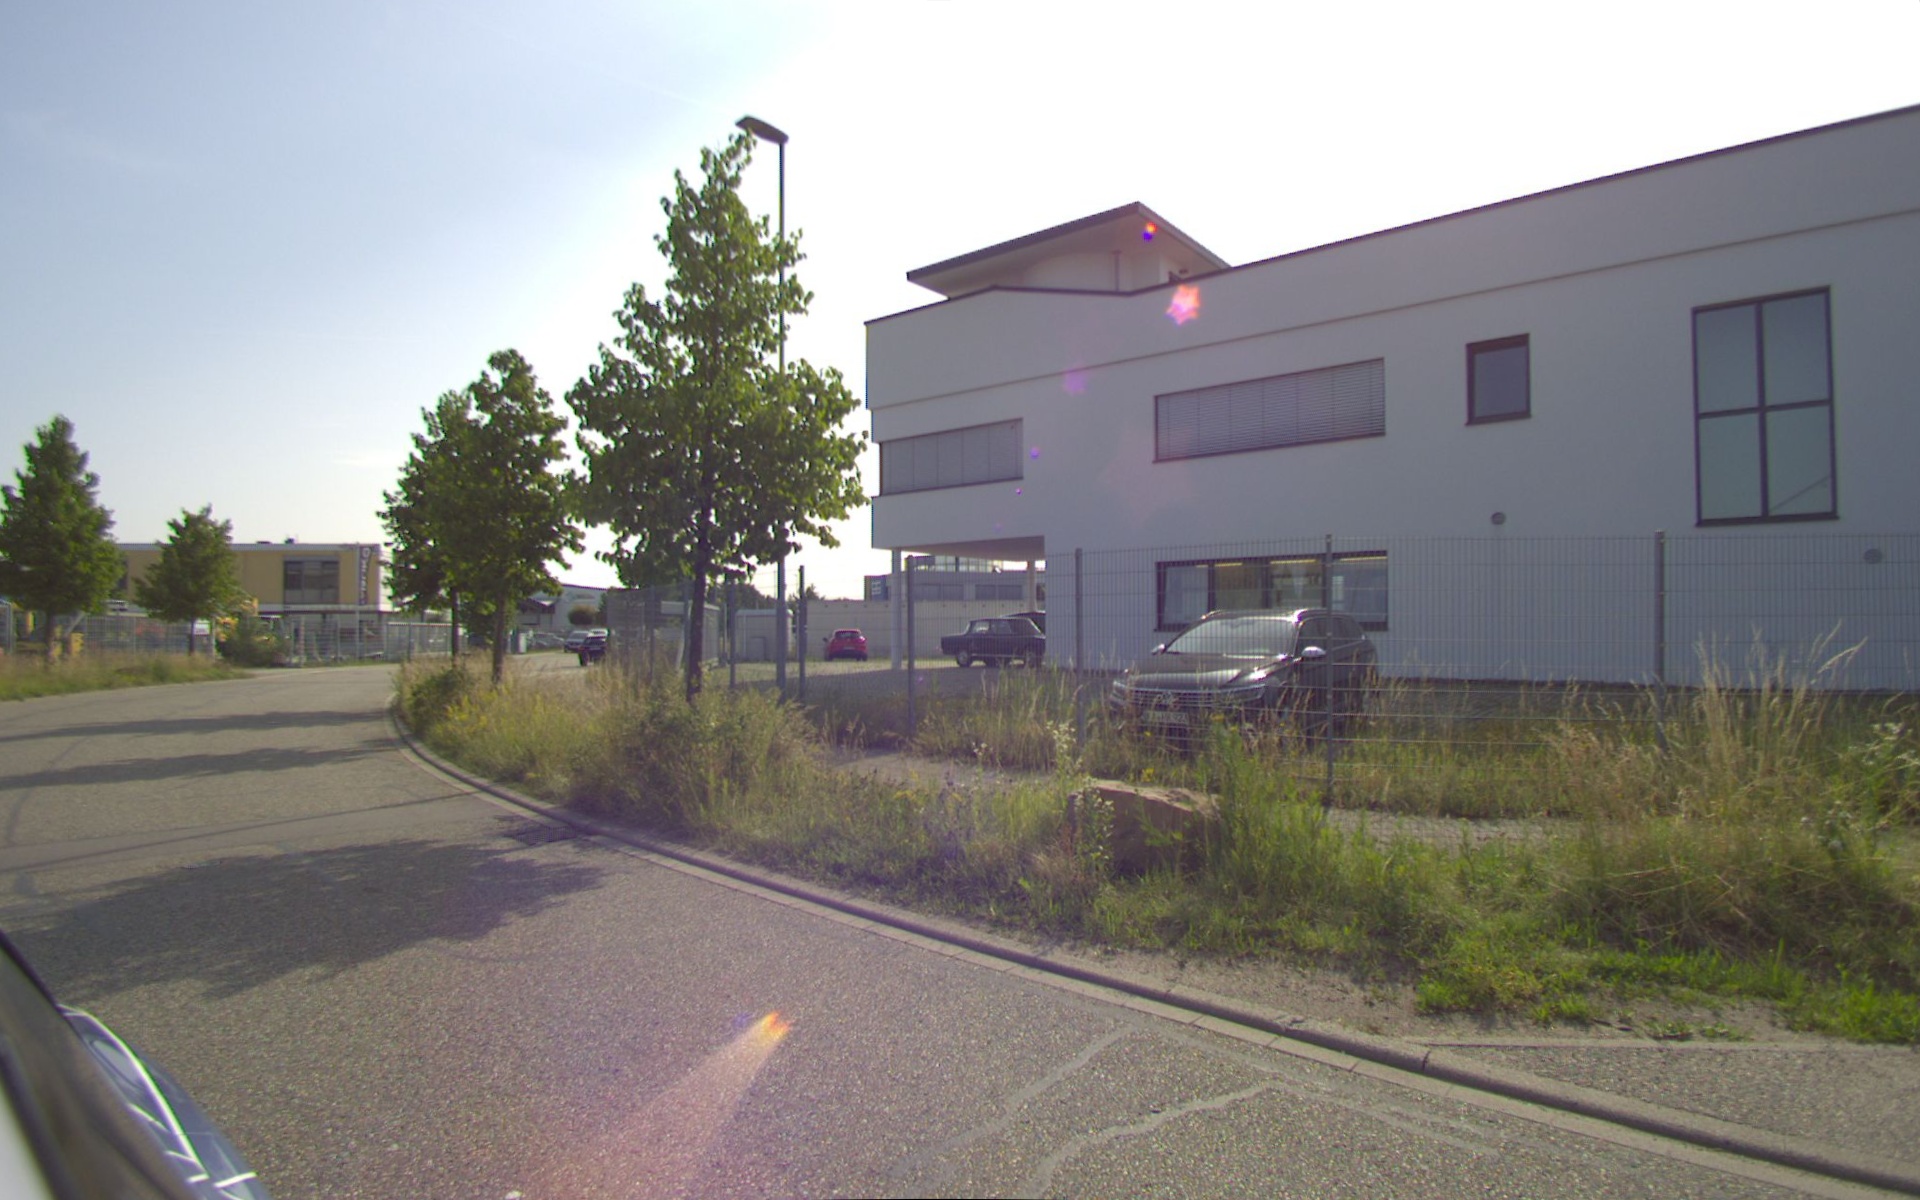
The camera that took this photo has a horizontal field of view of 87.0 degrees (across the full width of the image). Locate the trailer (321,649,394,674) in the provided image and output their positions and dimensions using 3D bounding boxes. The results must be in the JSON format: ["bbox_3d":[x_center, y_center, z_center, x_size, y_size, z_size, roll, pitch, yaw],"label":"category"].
[{"bbox_3d":[-32.925,3.330,55.448,1.920,1.253,4.300,0,-3,-7],"label":"trailer"}]

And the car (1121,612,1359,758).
[{"bbox_3d":[3.436,0.899,12.040,1.594,1.465,3.461,-2,-2,36],"label":"car"}]

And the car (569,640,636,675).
[{"bbox_3d":[-16.868,2.691,47.985,1.969,1.478,4.437,-2,-2,-6],"label":"car"}]

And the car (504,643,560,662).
[{"bbox_3d":[-35.229,4.282,83.289,3.935,1.381,1.794,-2,-2,-10],"label":"car"}]

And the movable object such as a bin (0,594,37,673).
[{"bbox_3d":[-48.687,1.644,49.209,2.651,3.903,5.724,0,-2,-6],"label":"movable object such as a bin"}]

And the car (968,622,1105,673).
[{"bbox_3d":[2.370,1.505,31.937,3.996,1.499,1.844,-2,-3,40],"label":"car"}]

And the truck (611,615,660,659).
[{"bbox_3d":[-32.042,3.754,100.274,2.712,4.046,9.699,2,-3,-7],"label":"truck"}]

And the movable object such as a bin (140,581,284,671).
[{"bbox_3d":[-42.707,1.582,58.188,3.274,4.843,7.685,0,-3,-8],"label":"movable object such as a bin"}]

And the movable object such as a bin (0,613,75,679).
[{"bbox_3d":[-45.813,2.224,49.196,1.968,3.055,4.378,0,-2,-6],"label":"movable object such as a bin"}]

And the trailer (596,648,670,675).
[{"bbox_3d":[-17.425,3.265,54.314,2.105,1.242,7.162,-2,-3,-4],"label":"trailer"}]

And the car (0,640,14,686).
[{"bbox_3d":[-29.325,1.812,28.285,1.856,1.368,4.783,0,-3,-10],"label":"car"}]

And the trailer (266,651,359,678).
[{"bbox_3d":[-32.249,3.176,50.580,2.099,1.253,4.803,0,-3,-7],"label":"trailer"}]

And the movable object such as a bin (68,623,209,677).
[{"bbox_3d":[-40.256,2.430,49.824,2.887,2.511,5.345,0,-2,-6],"label":"movable object such as a bin"}]

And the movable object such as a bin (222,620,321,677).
[{"bbox_3d":[-35.069,2.465,51.737,1.864,2.773,5.166,0,-2,-6],"label":"movable object such as a bin"}]

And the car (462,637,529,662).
[{"bbox_3d":[-34.042,3.638,74.335,4.168,1.751,1.904,0,-2,-13],"label":"car"}]

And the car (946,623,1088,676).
[{"bbox_3d":[1.598,1.424,29.055,3.917,1.426,1.542,-2,-3,39],"label":"car"}]

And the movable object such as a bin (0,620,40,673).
[{"bbox_3d":[-52.356,2.471,53.909,2.028,2.790,5.699,1,-3,-8],"label":"movable object such as a bin"}]

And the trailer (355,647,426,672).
[{"bbox_3d":[-33.835,3.500,60.267,1.969,1.320,4.568,0,-1,-5],"label":"trailer"}]

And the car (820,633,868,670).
[{"bbox_3d":[-5.195,2.323,45.006,1.747,1.537,4.313,0,-4,-11],"label":"car"}]

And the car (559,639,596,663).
[{"bbox_3d":[-29.845,3.948,79.049,1.803,1.733,4.255,0,-2,-7],"label":"car"}]

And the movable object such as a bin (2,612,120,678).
[{"bbox_3d":[-43.494,2.186,49.126,1.968,3.055,4.497,0,-2,-6],"label":"movable object such as a bin"}]
